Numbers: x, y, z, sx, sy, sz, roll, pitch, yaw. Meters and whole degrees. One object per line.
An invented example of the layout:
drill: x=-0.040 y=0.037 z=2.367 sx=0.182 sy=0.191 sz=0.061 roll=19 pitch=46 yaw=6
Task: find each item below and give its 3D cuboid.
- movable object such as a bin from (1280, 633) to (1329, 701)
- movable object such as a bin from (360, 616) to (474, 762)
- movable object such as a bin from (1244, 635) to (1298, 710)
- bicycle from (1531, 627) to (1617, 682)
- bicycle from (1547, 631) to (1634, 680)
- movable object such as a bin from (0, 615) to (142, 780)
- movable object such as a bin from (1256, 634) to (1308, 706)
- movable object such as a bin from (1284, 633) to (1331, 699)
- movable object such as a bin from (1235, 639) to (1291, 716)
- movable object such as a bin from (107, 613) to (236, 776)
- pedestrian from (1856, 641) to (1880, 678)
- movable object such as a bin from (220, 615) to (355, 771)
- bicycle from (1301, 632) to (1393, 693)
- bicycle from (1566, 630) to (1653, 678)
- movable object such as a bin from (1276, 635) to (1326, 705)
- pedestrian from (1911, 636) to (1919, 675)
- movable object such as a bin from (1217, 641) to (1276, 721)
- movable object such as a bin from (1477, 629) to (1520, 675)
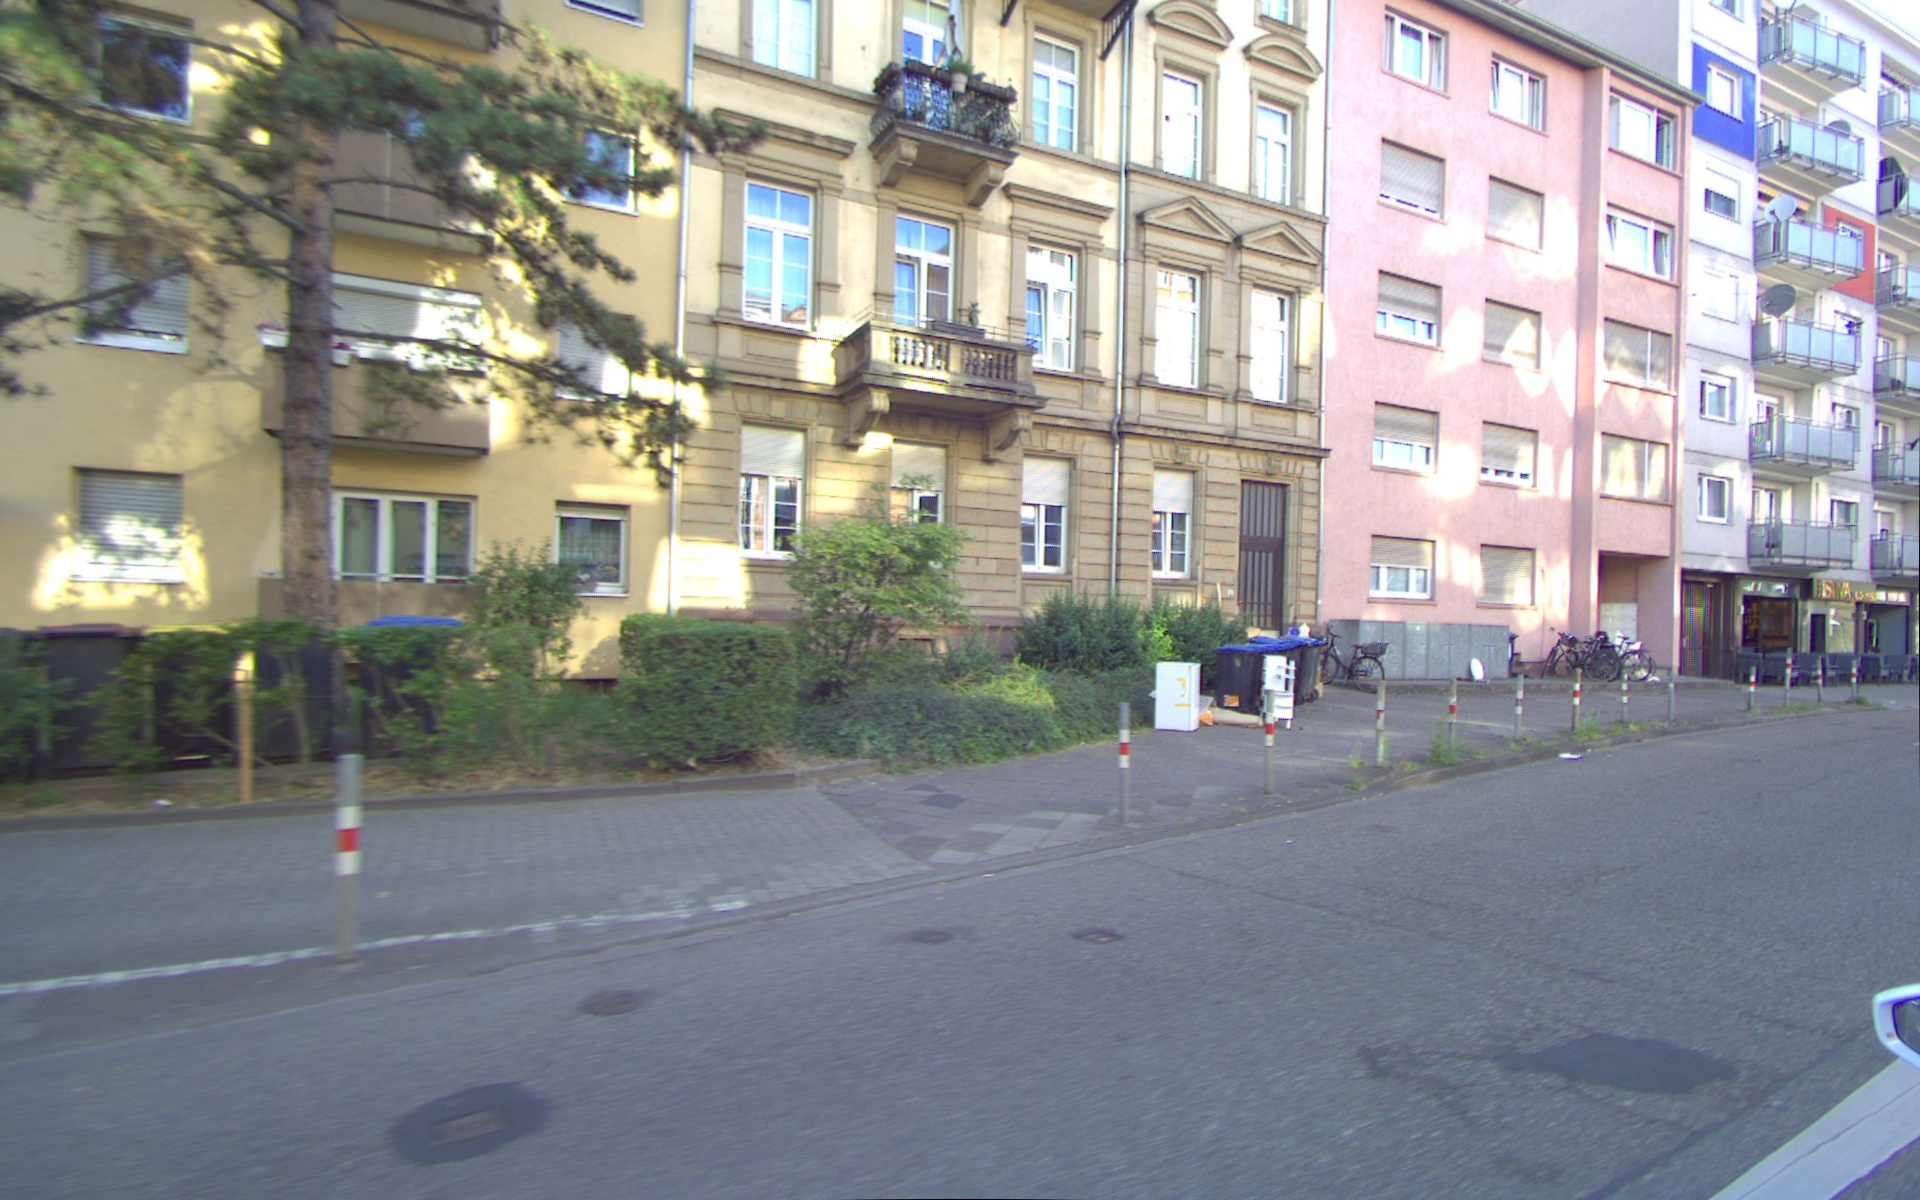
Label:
movable object such as a bin: x=6.028 y=1.155 z=17.565 sx=0.631 sy=1.125 sz=0.582 roll=3 pitch=1 yaw=33
movable object such as a bin: x=-4.413 y=0.692 z=8.198 sx=0.760 sy=1.065 sz=0.863 roll=2 pitch=2 yaw=-28
movable object such as a bin: x=4.957 y=1.137 z=15.992 sx=0.631 sy=1.125 sz=0.582 roll=3 pitch=1 yaw=33
bicycle: x=14.394 y=1.262 z=23.558 sx=1.649 sy=1.175 sz=0.494 roll=2 pitch=0 yaw=38
bicycle: x=15.057 y=1.304 z=24.011 sx=0.544 sy=1.054 sz=1.660 roll=2 pitch=0 yaw=-33
movable object such as a bin: x=-6.344 y=0.666 z=7.202 sx=0.575 sy=1.065 sz=0.808 roll=2 pitch=2 yaw=-28
movable object such as a bin: x=5.310 y=1.139 z=16.536 sx=0.631 sy=1.125 sz=0.582 roll=3 pitch=1 yaw=33
movable object such as a bin: x=6.294 y=1.181 z=18.177 sx=0.631 sy=1.125 sz=0.582 roll=3 pitch=1 yaw=33
movable object such as a bin: x=4.629 y=1.167 z=15.340 sx=0.631 sy=1.082 sz=0.626 roll=3 pitch=1 yaw=33
movable object such as a bin: x=-5.766 y=0.661 z=7.386 sx=0.575 sy=1.065 sz=0.863 roll=2 pitch=2 yaw=-28
pedestrian: x=30.643 y=2.001 z=33.901 sx=0.514 sy=1.219 sz=0.551 roll=1 pitch=-1 yaw=32
movable object such as a bin: x=-5.148 y=0.683 z=7.745 sx=0.760 sy=1.065 sz=0.863 roll=2 pitch=2 yaw=-28
bicycle: x=7.720 y=1.225 z=20.102 sx=0.654 sy=0.980 sz=1.641 roll=2 pitch=5 yaw=-28
bicycle: x=15.768 y=1.303 z=24.421 sx=0.545 sy=1.054 sz=1.655 roll=2 pitch=0 yaw=-40
movable object such as a bin: x=5.774 y=1.172 z=17.011 sx=0.631 sy=1.125 sz=0.582 roll=3 pitch=1 yaw=33
pedestrian: x=34.395 y=1.988 z=35.816 sx=0.472 sy=1.402 sz=0.484 roll=2 pitch=0 yaw=-6
movable object such as a bin: x=4.225 y=1.174 z=14.809 sx=0.631 sy=1.098 sz=0.582 roll=3 pitch=1 yaw=33
movable object such as a bin: x=12.607 y=1.207 z=23.517 sx=0.581 sy=1.045 sz=0.672 roll=2 pitch=-1 yaw=-27
